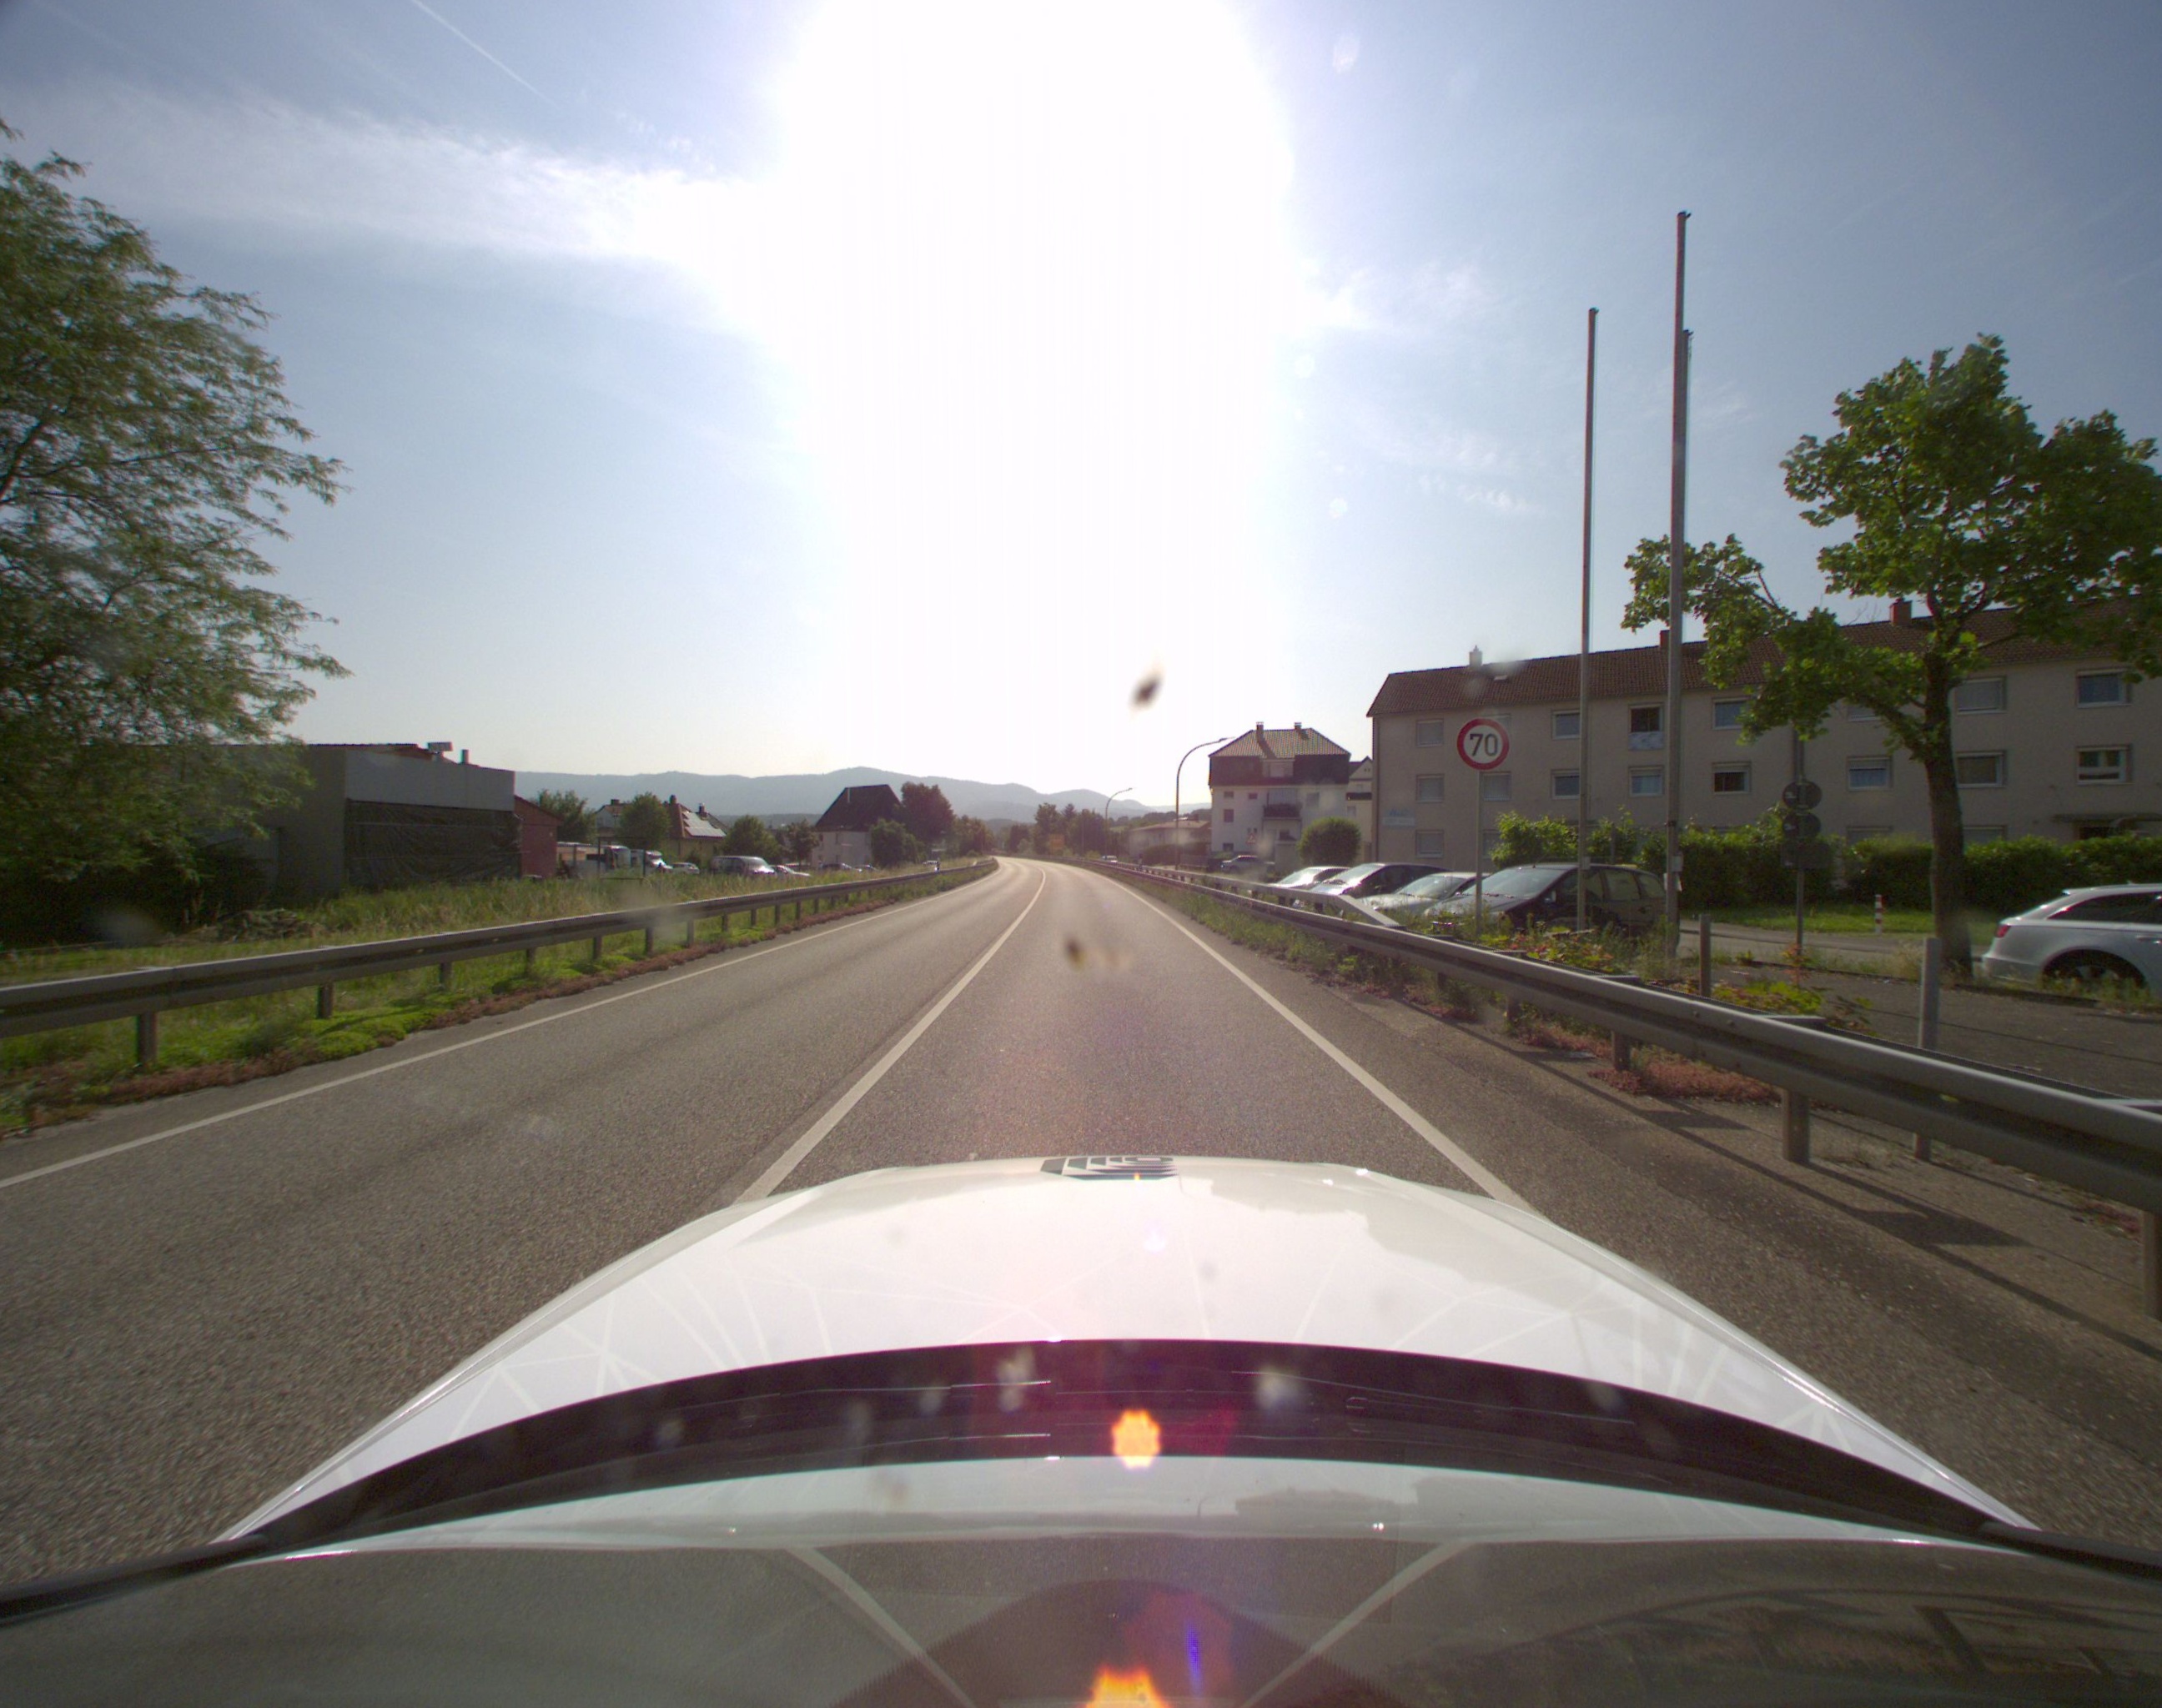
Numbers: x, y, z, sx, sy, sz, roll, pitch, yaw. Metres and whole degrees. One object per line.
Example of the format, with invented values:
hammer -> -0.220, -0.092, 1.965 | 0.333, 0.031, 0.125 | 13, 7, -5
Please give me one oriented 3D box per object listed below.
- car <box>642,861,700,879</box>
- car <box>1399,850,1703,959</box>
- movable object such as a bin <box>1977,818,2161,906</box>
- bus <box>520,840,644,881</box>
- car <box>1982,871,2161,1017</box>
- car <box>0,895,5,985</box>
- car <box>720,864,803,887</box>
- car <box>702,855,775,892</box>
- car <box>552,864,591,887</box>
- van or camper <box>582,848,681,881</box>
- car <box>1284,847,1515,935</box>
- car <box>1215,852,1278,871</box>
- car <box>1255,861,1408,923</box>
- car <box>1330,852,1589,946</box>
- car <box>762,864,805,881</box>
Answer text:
car -> -38.704, 1.480, 77.000 | 4.537, 1.633, 1.864 | 1, 0, 4
car -> 7.210, 0.701, 12.590 | 4.065, 1.452, 1.719 | -1, -1, -16
movable object such as a bin -> 28.664, 0.263, 23.578 | 3.489, 2.358, 1.594 | -1, -4, 43
bus -> -42.318, 0.505, 69.170 | 9.057, 3.354, 2.669 | 1, 1, 4
car -> 12.001, 0.940, 7.667 | 1.786, 1.420, 4.417 | -1, 0, -14
car -> -19.542, 1.424, 12.434 | 3.735, 1.460, 1.861 | -1, -1, 0
car -> -20.531, 1.377, 52.497 | 4.610, 1.382, 1.739 | -1, 0, -7
car -> -20.069, 1.085, 47.610 | 4.843, 2.013, 2.012 | 0, 0, 41
car -> -27.145, 1.144, 43.453 | 0.812, 1.146, 2.016 | -1, -1, 0
van or camper -> -40.071, 0.918, 72.659 | 7.360, 2.842, 2.750 | 1, 0, 4
car -> 6.738, 0.787, 17.398 | 4.236, 1.572, 1.910 | 3, -1, -12
car -> 13.025, 0.585, 64.146 | 4.554, 1.348, 1.765 | -2, 1, 24
car -> 6.132, 0.921, 20.059 | 3.265, 1.376, 1.543 | 2, -1, -12
car -> 6.824, 0.800, 14.855 | 3.986, 1.450, 1.759 | 3, -1, -10
car -> -34.430, 2.143, 94.219 | 4.135, 1.634, 1.865 | 3, -2, 8
